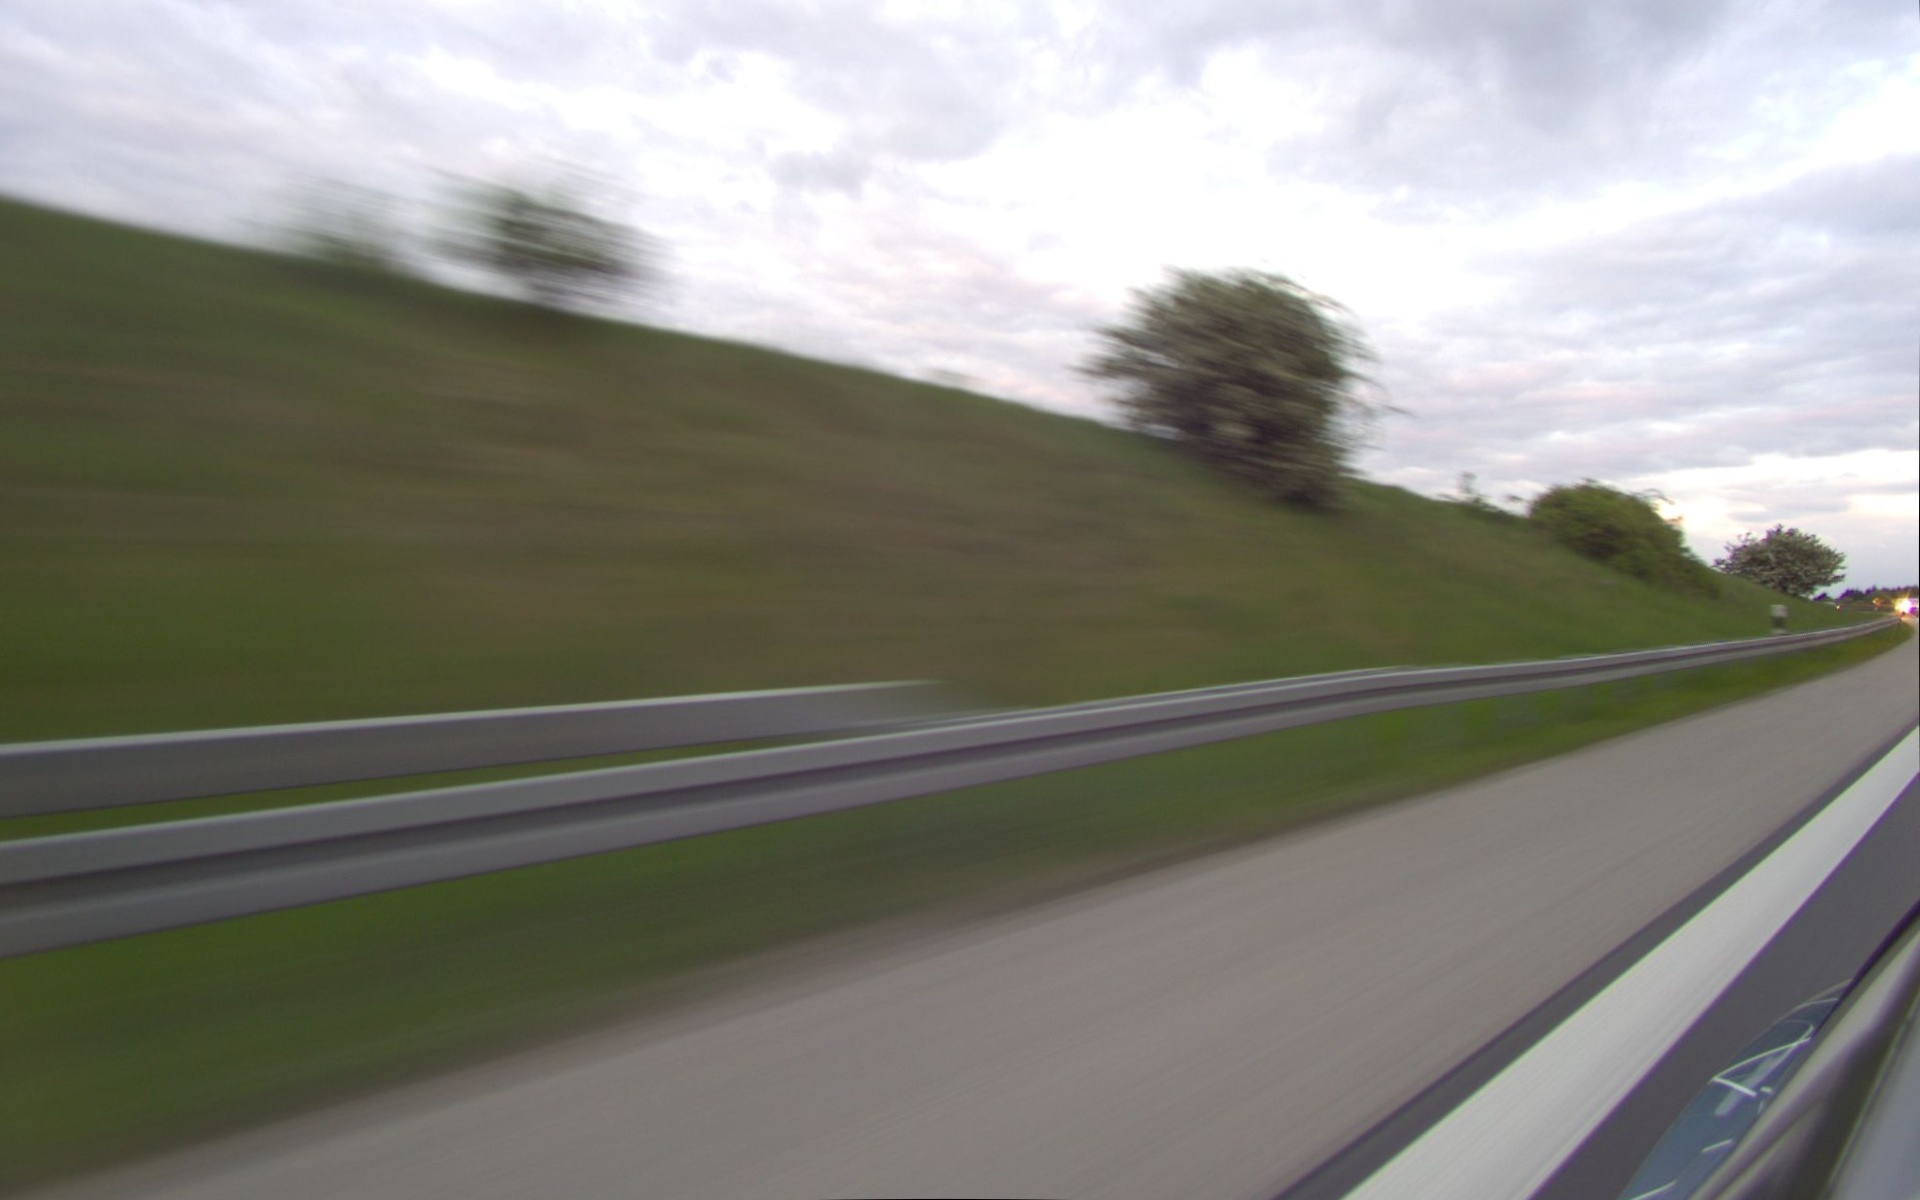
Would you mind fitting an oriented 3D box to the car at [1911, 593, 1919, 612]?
[{"bbox_3d":[100.487,0.287,105.394,1.913,1.860,3.940,3,2,41],"label":"car"}]
